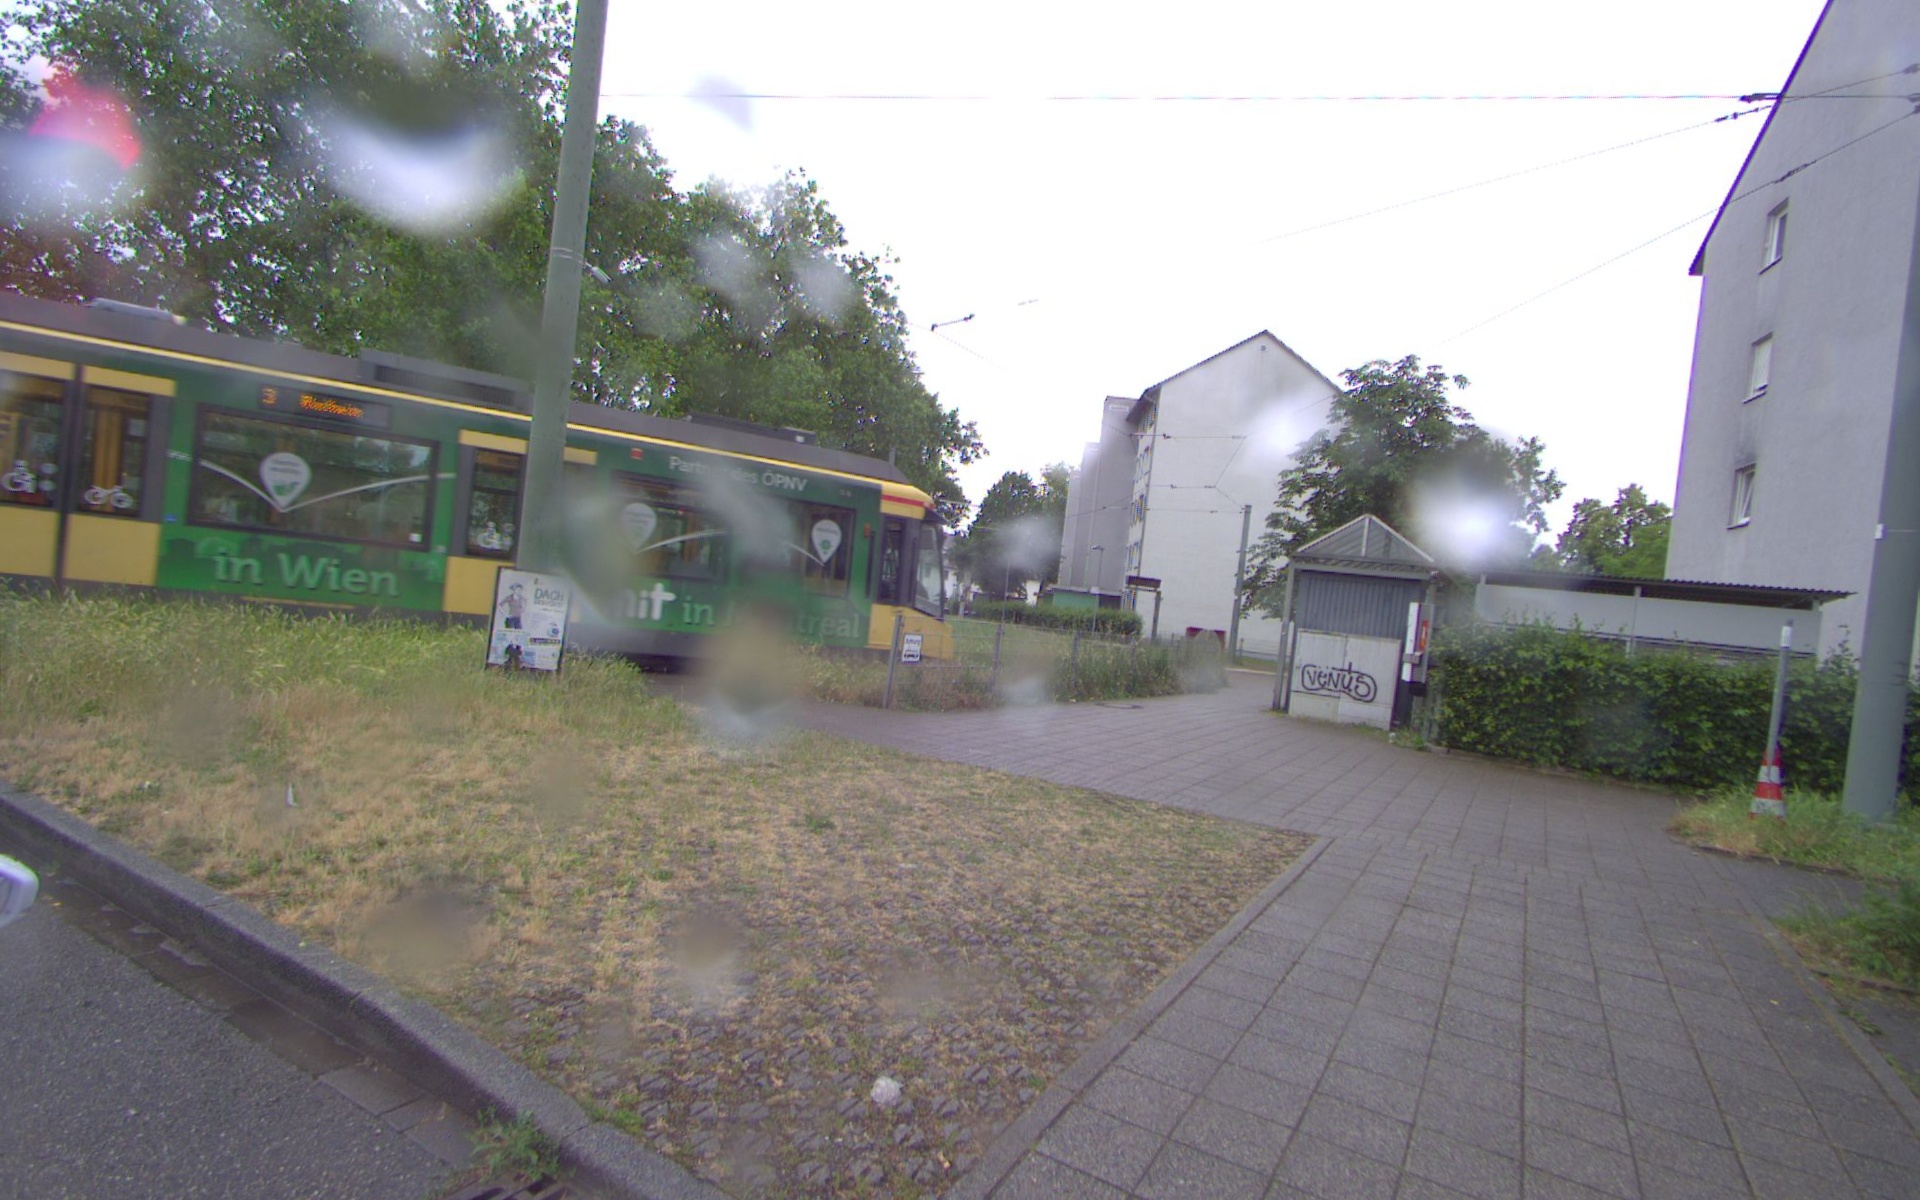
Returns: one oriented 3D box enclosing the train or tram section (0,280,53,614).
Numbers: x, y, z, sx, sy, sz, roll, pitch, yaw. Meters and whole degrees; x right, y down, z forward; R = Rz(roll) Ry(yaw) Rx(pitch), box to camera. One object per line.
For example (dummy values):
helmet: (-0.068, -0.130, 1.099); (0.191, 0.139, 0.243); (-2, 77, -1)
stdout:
train or tram section: (-12.619, -1.882, 9.606); (4.912, 3.597, 2.759); (6, 1, -17)

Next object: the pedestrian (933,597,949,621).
pedestrian: (-1.579, 0.751, 83.215); (1.022, 1.811, 0.818); (7, -1, -3)

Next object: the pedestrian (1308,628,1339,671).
pedestrian: (15.467, 2.103, 42.752); (0.806, 1.674, 0.889); (6, -1, 41)

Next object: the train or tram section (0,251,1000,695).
train or tram section: (-5.454, -1.047, 13.321); (12.065, 3.597, 2.749); (7, 0, -29)
